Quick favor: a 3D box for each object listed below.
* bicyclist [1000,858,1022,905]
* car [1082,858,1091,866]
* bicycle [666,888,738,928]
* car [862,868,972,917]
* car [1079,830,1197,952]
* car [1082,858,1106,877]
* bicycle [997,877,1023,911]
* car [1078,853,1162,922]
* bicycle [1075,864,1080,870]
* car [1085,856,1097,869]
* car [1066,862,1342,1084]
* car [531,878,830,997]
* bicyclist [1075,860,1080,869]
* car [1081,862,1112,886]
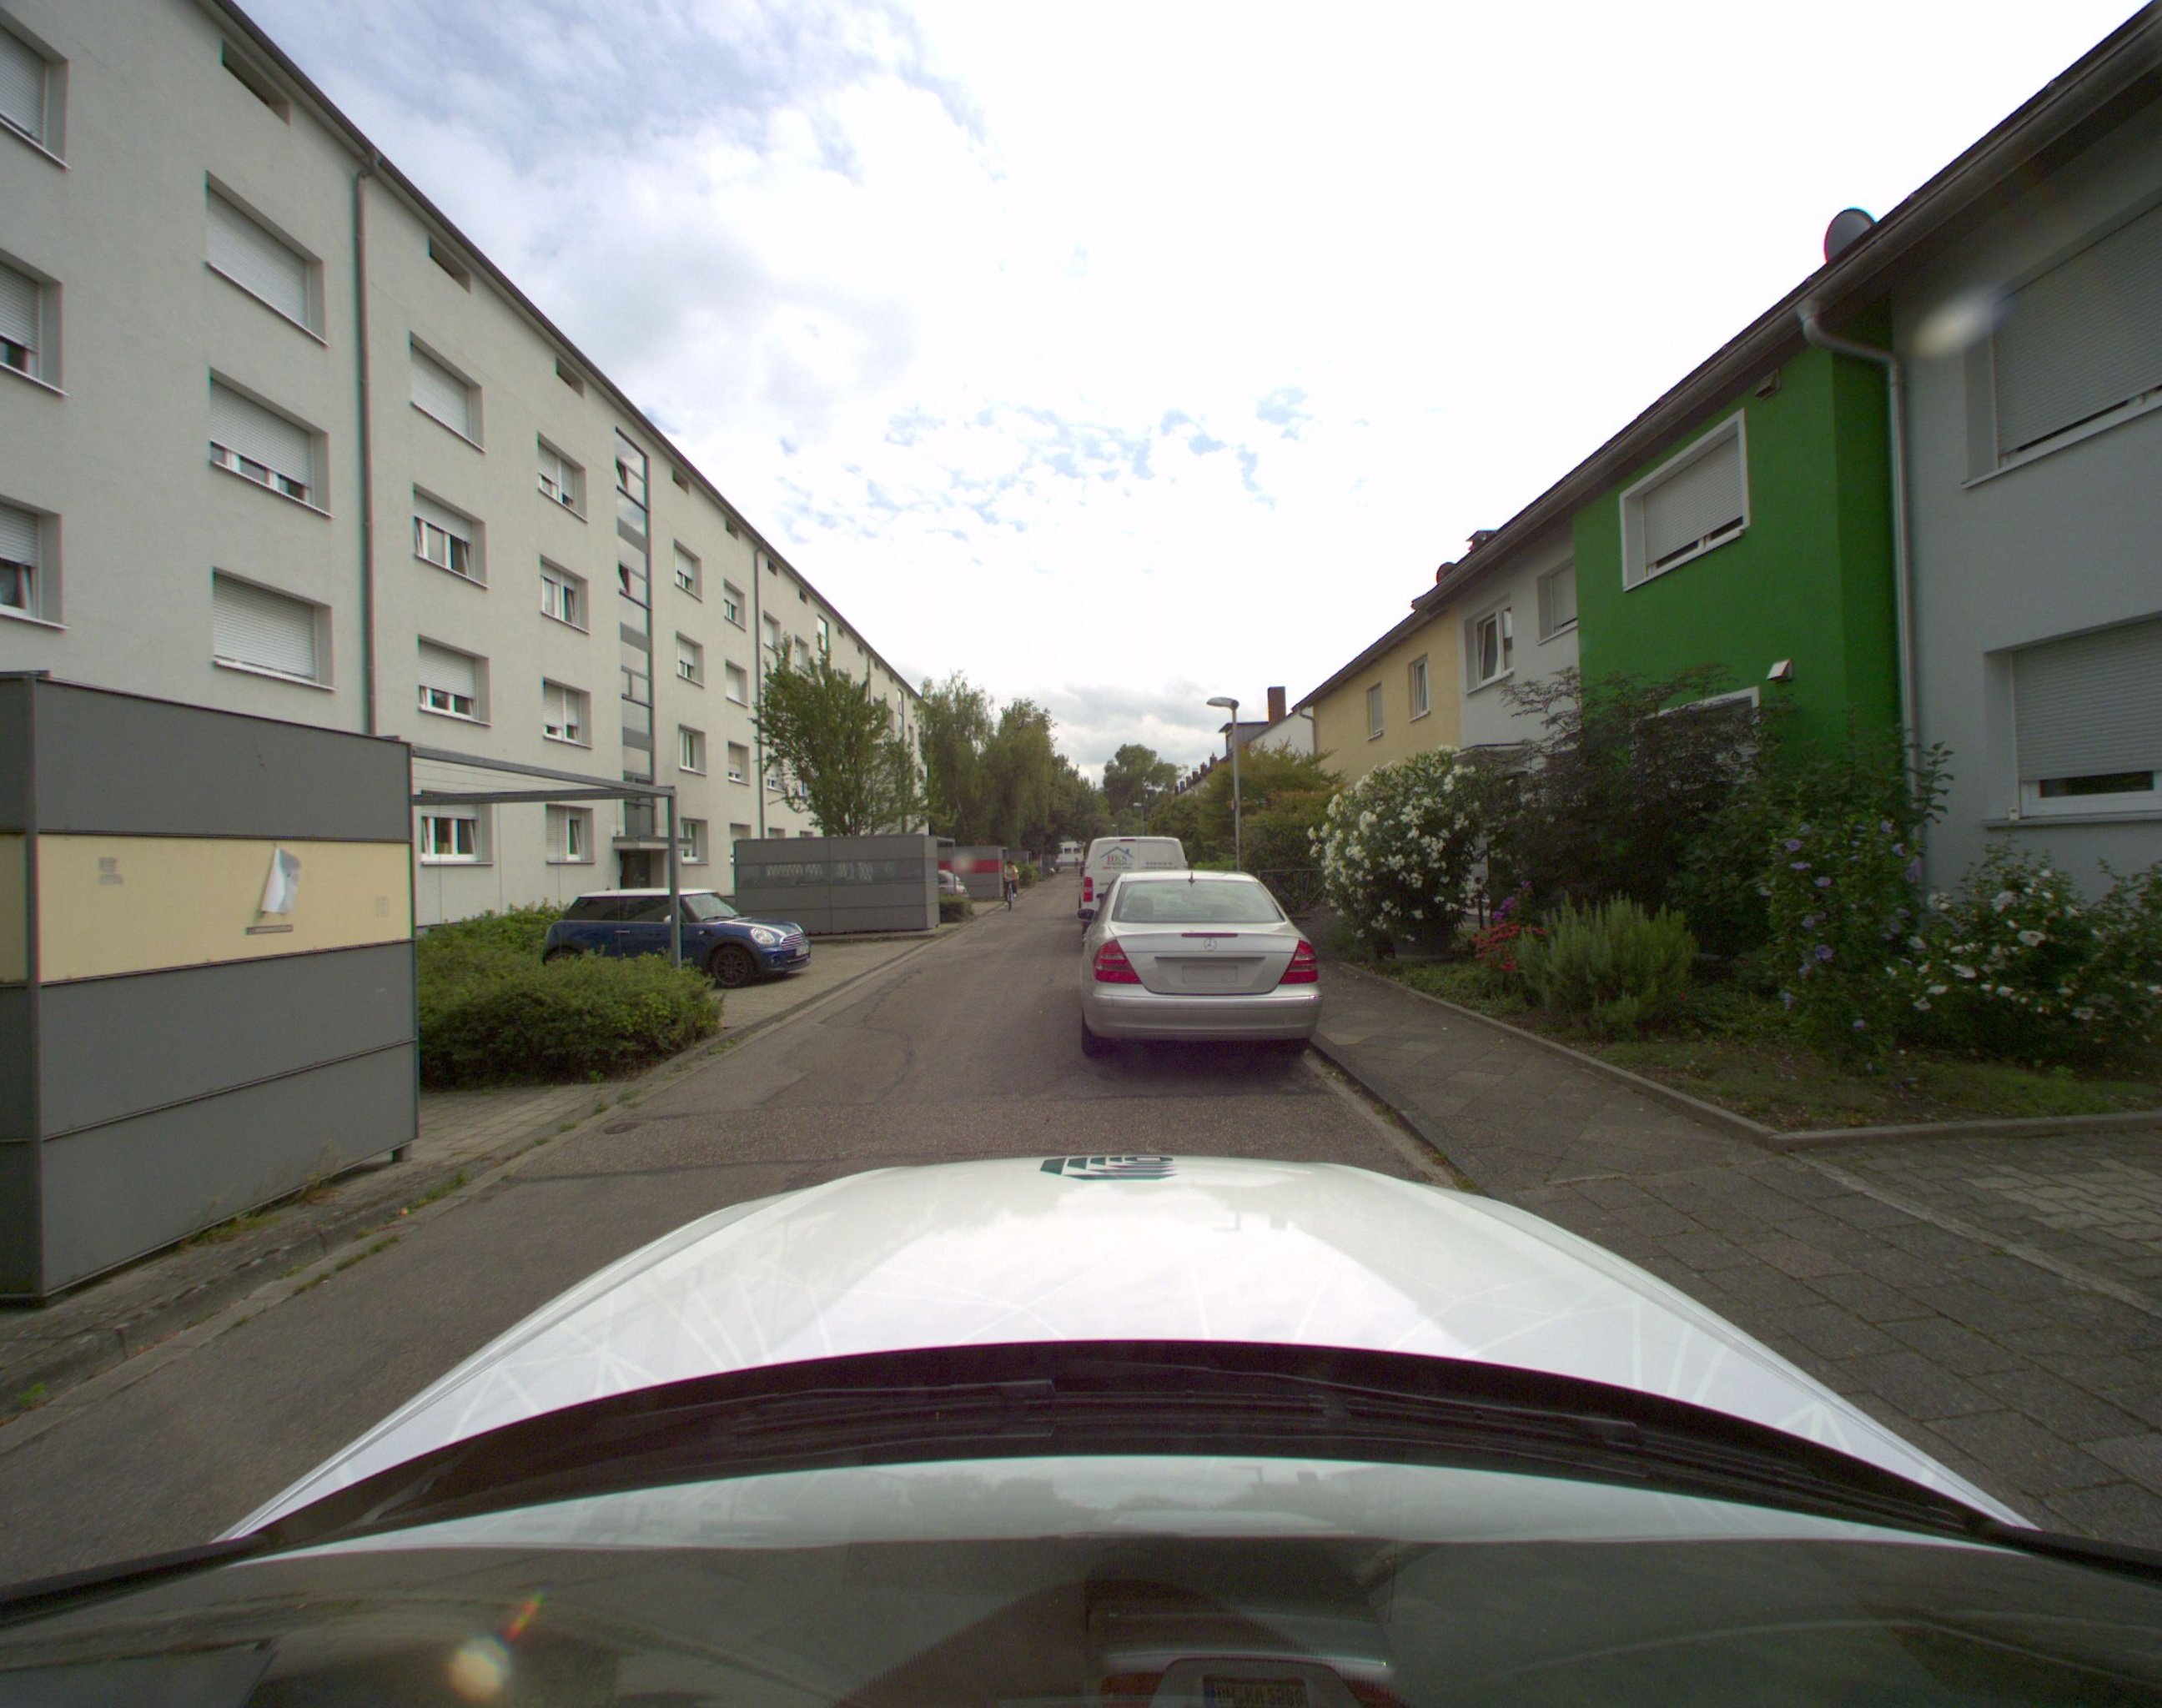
[{"bbox_3d":[-2.442,0.952,28.339,0.595,1.581,0.767,-3,-1,1],"label":"bicyclist"},{"bbox_3d":[1.175,1.696,165.484,1.819,1.581,4.000,0,0,1],"label":"car"},{"bbox_3d":[-10.999,1.541,23.672,1.820,1.024,0.473,-2,-1,-41],"label":"bicycle"},{"bbox_3d":[-5.803,1.337,29.145,3.555,1.480,1.708,-3,0,-5],"label":"car"},{"bbox_3d":[0.924,0.623,15.937,1.898,1.964,5.252,-1,-1,0],"label":"car"},{"bbox_3d":[1.046,1.110,67.612,1.820,1.581,3.998,0,0,-1],"label":"car"},{"bbox_3d":[-2.425,1.366,28.164,0.595,1.076,2.043,-3,-1,2],"label":"bicycle"},{"bbox_3d":[0.929,0.812,21.601,1.820,1.636,4.158,-1,-1,-3],"label":"car"},{"bbox_3d":[-0.572,2.214,140.488,0.686,1.131,2.580,0,-1,2],"label":"bicycle"},{"bbox_3d":[1.522,1.250,124.588,1.819,1.883,4.000,0,0,1],"label":"car"},{"bbox_3d":[0.878,0.805,7.558,1.777,1.421,4.457,-1,-1,2],"label":"car"},{"bbox_3d":[-5.897,1.199,12.275,3.619,1.461,1.654,-3,-1,3],"label":"car"},{"bbox_3d":[-0.575,1.874,140.491,0.795,1.511,0.934,0,-1,2],"label":"bicyclist"},{"bbox_3d":[0.939,1.186,49.238,1.819,1.370,4.331,0,0,1],"label":"car"}]
